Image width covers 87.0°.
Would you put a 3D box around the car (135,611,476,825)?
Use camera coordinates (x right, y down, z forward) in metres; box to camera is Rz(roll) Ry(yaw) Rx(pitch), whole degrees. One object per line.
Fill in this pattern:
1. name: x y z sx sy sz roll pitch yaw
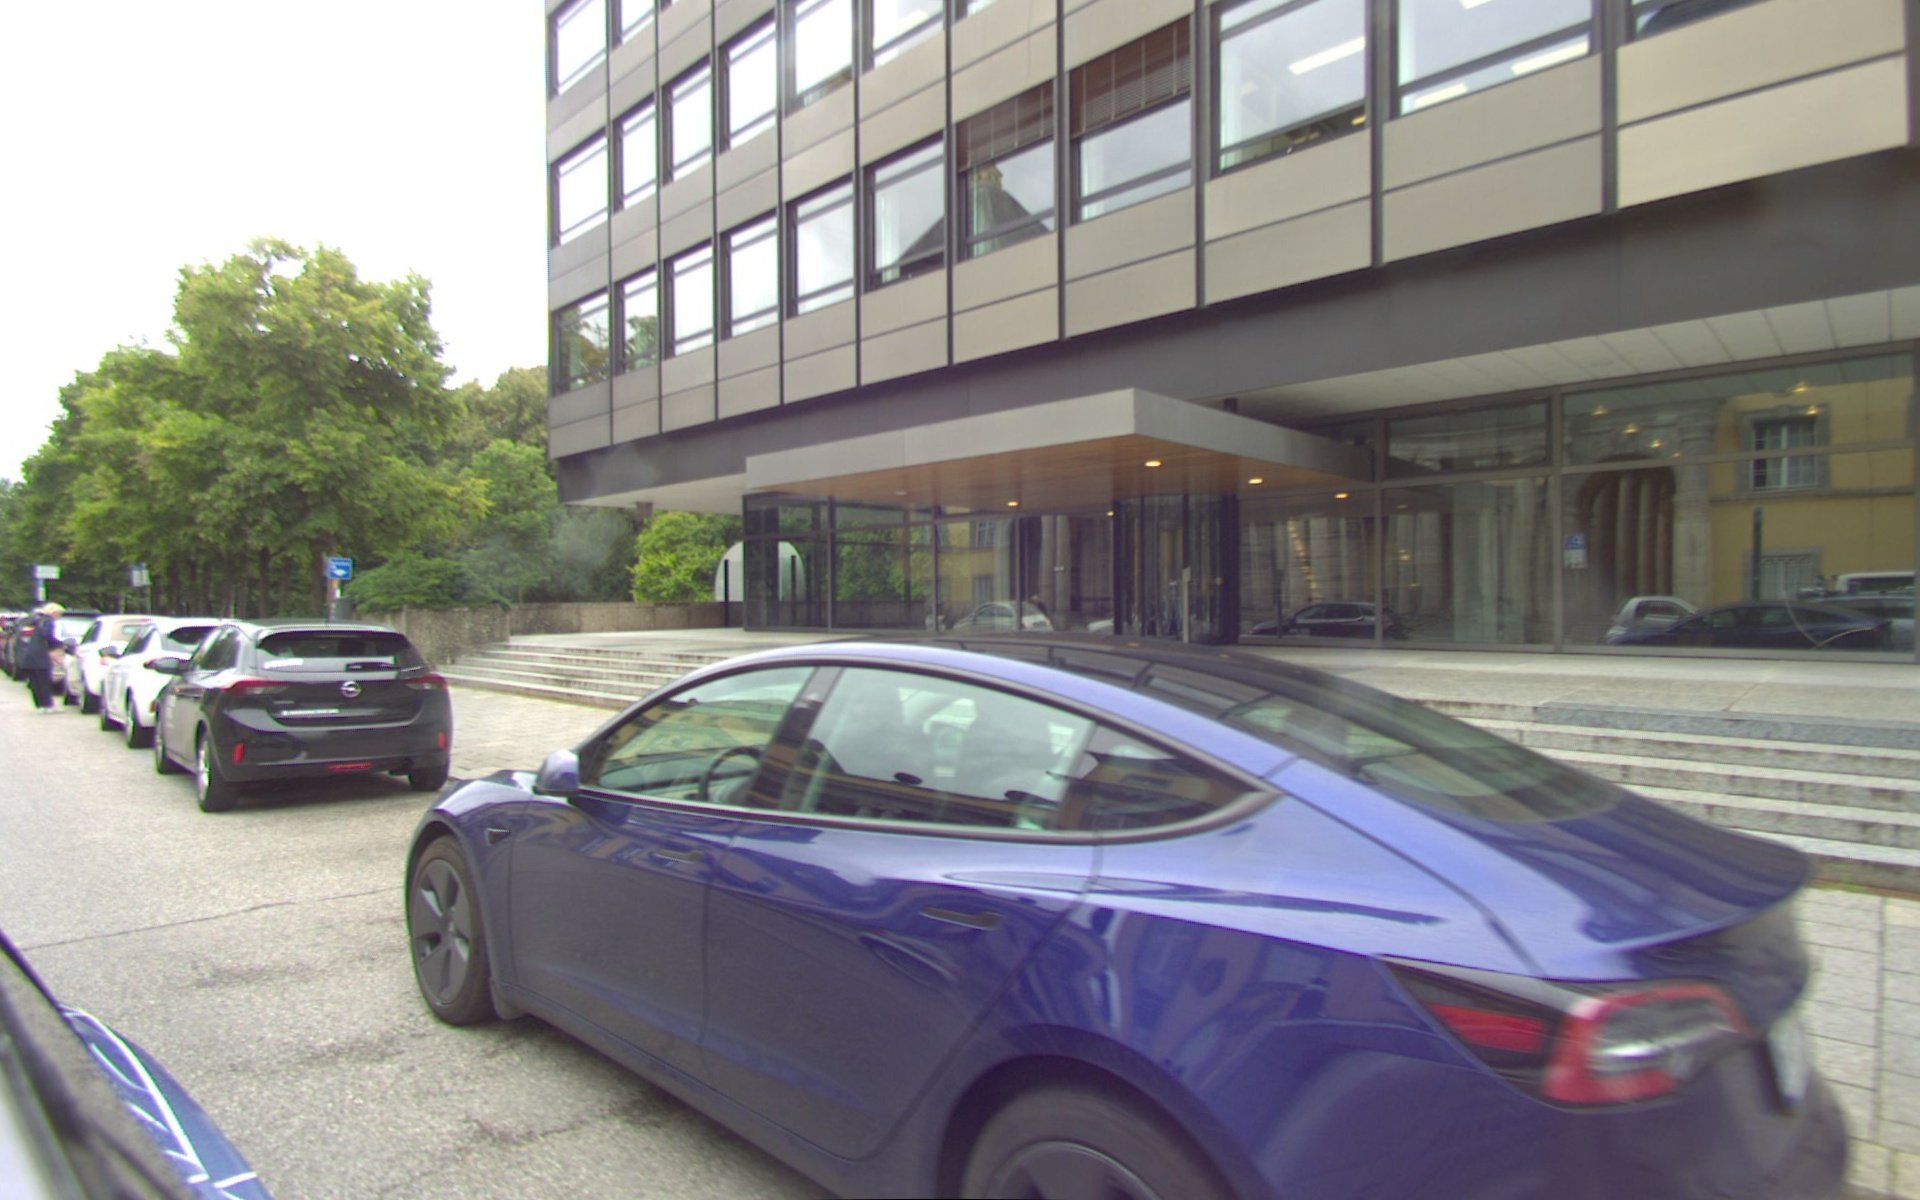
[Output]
1. car: -6.031 0.862 9.096 1.720 1.472 4.239 3 -2 -45

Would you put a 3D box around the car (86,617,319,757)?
1. car: -9.584 0.965 12.668 4.281 1.451 1.662 -1 -3 44

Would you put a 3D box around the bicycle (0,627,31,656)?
1. bicycle: -37.586 1.638 39.638 0.597 1.116 1.680 -1 0 35

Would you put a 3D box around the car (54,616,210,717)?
1. car: -13.589 1.011 16.542 3.553 1.482 1.526 -1 -2 44

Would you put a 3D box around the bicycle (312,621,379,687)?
1. bicycle: -11.781 1.016 19.386 1.527 1.173 0.636 -1 2 42

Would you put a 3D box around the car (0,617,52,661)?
1. car: -33.961 1.357 36.182 4.366 1.472 1.971 -1 -1 45

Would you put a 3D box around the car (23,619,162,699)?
1. car: -17.268 1.121 20.084 1.738 1.411 4.219 4 -3 -45

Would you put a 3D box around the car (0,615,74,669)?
1. car: -29.074 1.272 31.484 4.366 1.555 1.971 -1 -1 45

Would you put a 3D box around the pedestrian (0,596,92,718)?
1. pedestrian: -13.832 0.849 15.225 0.684 1.765 0.889 0 -2 14

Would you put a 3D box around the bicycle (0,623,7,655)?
1. bicycle: -38.929 1.585 40.441 0.566 1.292 1.423 -2 1 -14

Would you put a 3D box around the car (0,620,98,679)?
1. car: -25.179 1.293 27.756 4.649 1.472 1.971 -1 -1 45

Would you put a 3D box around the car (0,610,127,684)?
1. car: -21.534 1.047 24.207 4.522 1.595 1.971 -1 -1 44

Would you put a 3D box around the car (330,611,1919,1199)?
1. car: -0.143 0.783 3.242 4.917 1.450 1.902 0 -2 42
